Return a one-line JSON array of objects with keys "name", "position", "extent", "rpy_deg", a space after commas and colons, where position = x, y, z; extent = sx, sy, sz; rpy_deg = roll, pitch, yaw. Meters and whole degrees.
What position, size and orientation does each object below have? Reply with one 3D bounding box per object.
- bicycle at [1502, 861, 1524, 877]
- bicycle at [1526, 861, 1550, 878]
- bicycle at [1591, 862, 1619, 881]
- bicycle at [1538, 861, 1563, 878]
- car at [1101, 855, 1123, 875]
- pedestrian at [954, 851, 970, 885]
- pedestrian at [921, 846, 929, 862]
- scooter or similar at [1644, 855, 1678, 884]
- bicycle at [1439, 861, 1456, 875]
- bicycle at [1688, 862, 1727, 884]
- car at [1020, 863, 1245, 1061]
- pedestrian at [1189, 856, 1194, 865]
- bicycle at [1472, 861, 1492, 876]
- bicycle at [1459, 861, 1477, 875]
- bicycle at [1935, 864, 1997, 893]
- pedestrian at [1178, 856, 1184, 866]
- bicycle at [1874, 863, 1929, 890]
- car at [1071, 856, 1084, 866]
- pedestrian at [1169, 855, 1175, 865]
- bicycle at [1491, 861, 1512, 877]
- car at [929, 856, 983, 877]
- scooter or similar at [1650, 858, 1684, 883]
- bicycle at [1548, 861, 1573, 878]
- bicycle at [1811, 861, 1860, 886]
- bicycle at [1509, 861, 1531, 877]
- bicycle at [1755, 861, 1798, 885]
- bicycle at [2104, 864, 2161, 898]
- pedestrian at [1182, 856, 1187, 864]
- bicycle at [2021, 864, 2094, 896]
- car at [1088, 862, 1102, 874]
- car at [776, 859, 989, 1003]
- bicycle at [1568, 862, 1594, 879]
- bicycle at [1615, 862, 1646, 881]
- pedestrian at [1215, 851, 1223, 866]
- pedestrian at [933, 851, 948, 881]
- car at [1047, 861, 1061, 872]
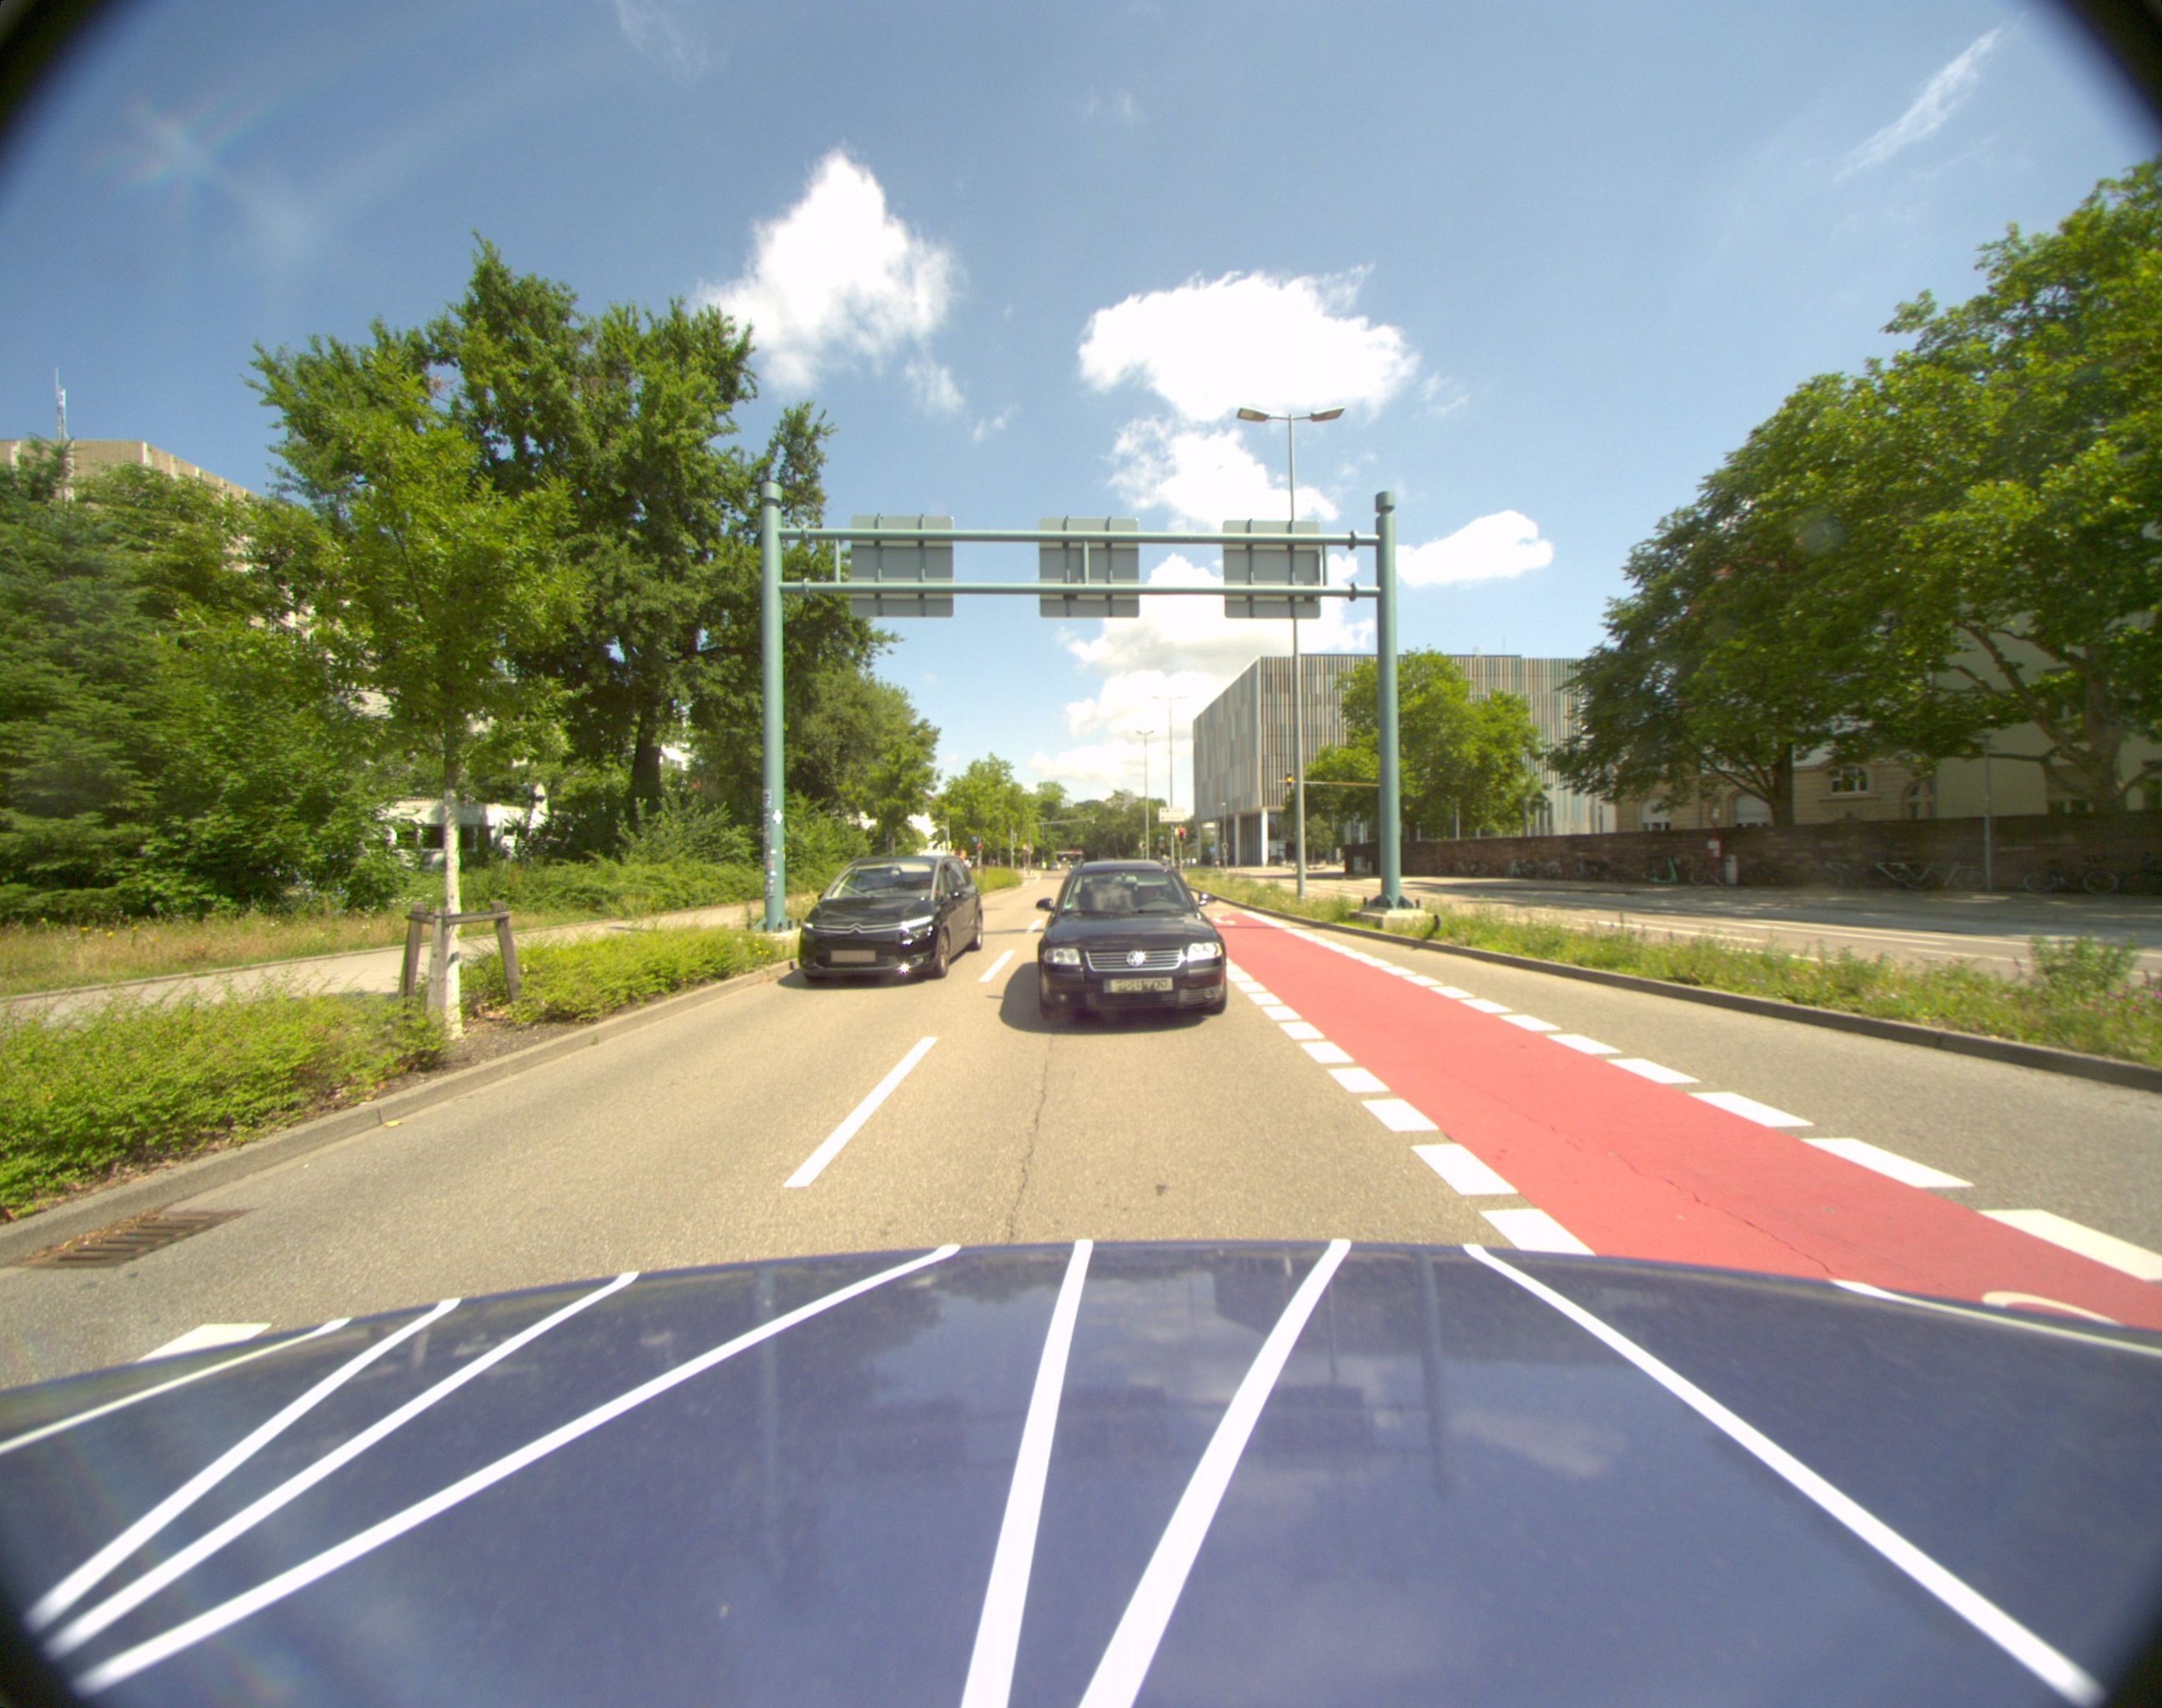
[{"name": "bicycle", "position": [22.822, 0.801, 40.113], "extent": [0.265, 0.826, 1.234], "rpy_deg": [-1, 0, -11]}, {"name": "bicycle", "position": [23.465, 0.792, 39.023], "extent": [0.265, 0.826, 1.235], "rpy_deg": [-1, 0, -11]}, {"name": "bicycle", "position": [24.040, 0.787, 34.865], "extent": [0.265, 0.826, 1.235], "rpy_deg": [-1, 0, -11]}, {"name": "bicycle", "position": [23.181, 0.754, 37.552], "extent": [0.265, 0.826, 1.234], "rpy_deg": [-1, 0, -11]}, {"name": "car", "position": [2.624, 0.920, 65.522], "extent": [1.723, 1.545, 4.594], "rpy_deg": [-3, 0, 1]}, {"name": "pedestrian", "position": [-6.212, 0.733, 39.666], "extent": [0.639, 1.754, 0.886], "rpy_deg": [-1, 0, 1]}, {"name": "pedestrian", "position": [-15.184, 0.008, 73.952], "extent": [0.765, 1.601, 0.767], "rpy_deg": [-1, 0, -8]}, {"name": "scooter or similar", "position": [23.810, 0.627, 31.209], "extent": [0.265, 1.182, 1.234], "rpy_deg": [-1, 0, -11]}, {"name": "bicycle", "position": [22.487, 0.838, 46.675], "extent": [0.265, 0.826, 1.235], "rpy_deg": [-1, 0, -11]}, {"name": "bicycle", "position": [24.814, 0.744, 30.106], "extent": [0.265, 0.826, 1.233], "rpy_deg": [-1, 0, -21]}, {"name": "car", "position": [0.442, 0.885, 8.349], "extent": [1.723, 1.472, 4.594], "rpy_deg": [-3, 0, 1]}, {"name": "pedestrian", "position": [18.120, 1.023, 124.554], "extent": [0.696, 1.445, 0.689], "rpy_deg": [-1, 0, 4]}, {"name": "bicycle", "position": [22.924, 0.807, 43.456], "extent": [0.265, 0.826, 1.234], "rpy_deg": [-1, 0, -11]}, {"name": "bicycle", "position": [22.804, 0.839, 44.780], "extent": [0.265, 0.826, 1.235], "rpy_deg": [-1, 0, -11]}, {"name": "bicycle", "position": [26.237, 0.725, 22.554], "extent": [0.265, 0.826, 1.235], "rpy_deg": [-1, 0, -11]}, {"name": "pedestrian", "position": [15.112, 1.012, 114.838], "extent": [0.697, 1.445, 0.688], "rpy_deg": [-1, 0, -6]}, {"name": "bicycle", "position": [25.970, 0.704, 24.064], "extent": [0.265, 0.826, 1.235], "rpy_deg": [-1, 0, -11]}, {"name": "car", "position": [-0.428, 1.010, 110.374], "extent": [1.806, 1.361, 4.157], "rpy_deg": [-1, 1, 1]}, {"name": "pedestrian", "position": [16.301, 1.090, 136.197], "extent": [0.864, 1.647, 0.995], "rpy_deg": [-1, 0, -1]}, {"name": "bicycle", "position": [23.150, 0.823, 41.829], "extent": [0.265, 0.826, 1.234], "rpy_deg": [-1, 0, -11]}, {"name": "car", "position": [-11.046, 1.113, 67.338], "extent": [4.477, 1.598, 1.817], "rpy_deg": [-3, 0, -4]}, {"name": "scooter or similar", "position": [24.570, 0.671, 31.876], "extent": [0.266, 1.014, 1.140], "rpy_deg": [-1, 0, -22]}, {"name": "bicycle", "position": [23.659, 0.753, 37.495], "extent": [0.265, 0.826, 1.235], "rpy_deg": [-1, 0, -11]}, {"name": "bicycle", "position": [25.679, 0.653, 25.876], "extent": [0.265, 0.826, 1.235], "rpy_deg": [-1, 0, -11]}, {"name": "bicycle", "position": [23.356, 0.795, 40.434], "extent": [0.265, 0.826, 1.234], "rpy_deg": [-1, 0, -11]}, {"name": "bicycle", "position": [25.183, 0.683, 27.546], "extent": [0.265, 0.826, 1.235], "rpy_deg": [-1, 0, -11]}, {"name": "bicycle", "position": [27.122, 0.682, 19.372], "extent": [0.265, 0.826, 1.234], "rpy_deg": [-1, 0, -13]}, {"name": "pedestrian", "position": [17.718, 1.008, 130.237], "extent": [0.696, 1.445, 0.689], "rpy_deg": [-1, 0, 5]}, {"name": "bicycle", "position": [26.649, 0.696, 20.755], "extent": [0.265, 0.826, 1.234], "rpy_deg": [-1, 0, -13]}, {"name": "car", "position": [1.806, 1.777, 97.741], "extent": [1.806, 1.361, 4.157], "rpy_deg": [-1, 1, 1]}, {"name": "car", "position": [-2.596, 0.918, 11.129], "extent": [1.816, 1.598, 4.479], "rpy_deg": [-3, 0, 1]}, {"name": "bicycle", "position": [23.838, 0.784, 36.220], "extent": [0.265, 0.826, 1.235], "rpy_deg": [-1, 0, -11]}, {"name": "bicycle", "position": [24.143, 0.775, 33.396], "extent": [0.265, 0.826, 1.235], "rpy_deg": [-1, 0, -11]}, {"name": "pedestrian", "position": [18.751, 0.573, 103.443], "extent": [0.864, 2.002, 0.995], "rpy_deg": [-1, 0, -1]}, {"name": "pedestrian", "position": [-9.917, 0.837, 53.588], "extent": [0.847, 2.026, 0.900], "rpy_deg": [-1, 0, -20]}, {"name": "car", "position": [-4.323, 1.958, 122.162], "extent": [1.816, 1.598, 4.479], "rpy_deg": [-3, 0, 1]}]
